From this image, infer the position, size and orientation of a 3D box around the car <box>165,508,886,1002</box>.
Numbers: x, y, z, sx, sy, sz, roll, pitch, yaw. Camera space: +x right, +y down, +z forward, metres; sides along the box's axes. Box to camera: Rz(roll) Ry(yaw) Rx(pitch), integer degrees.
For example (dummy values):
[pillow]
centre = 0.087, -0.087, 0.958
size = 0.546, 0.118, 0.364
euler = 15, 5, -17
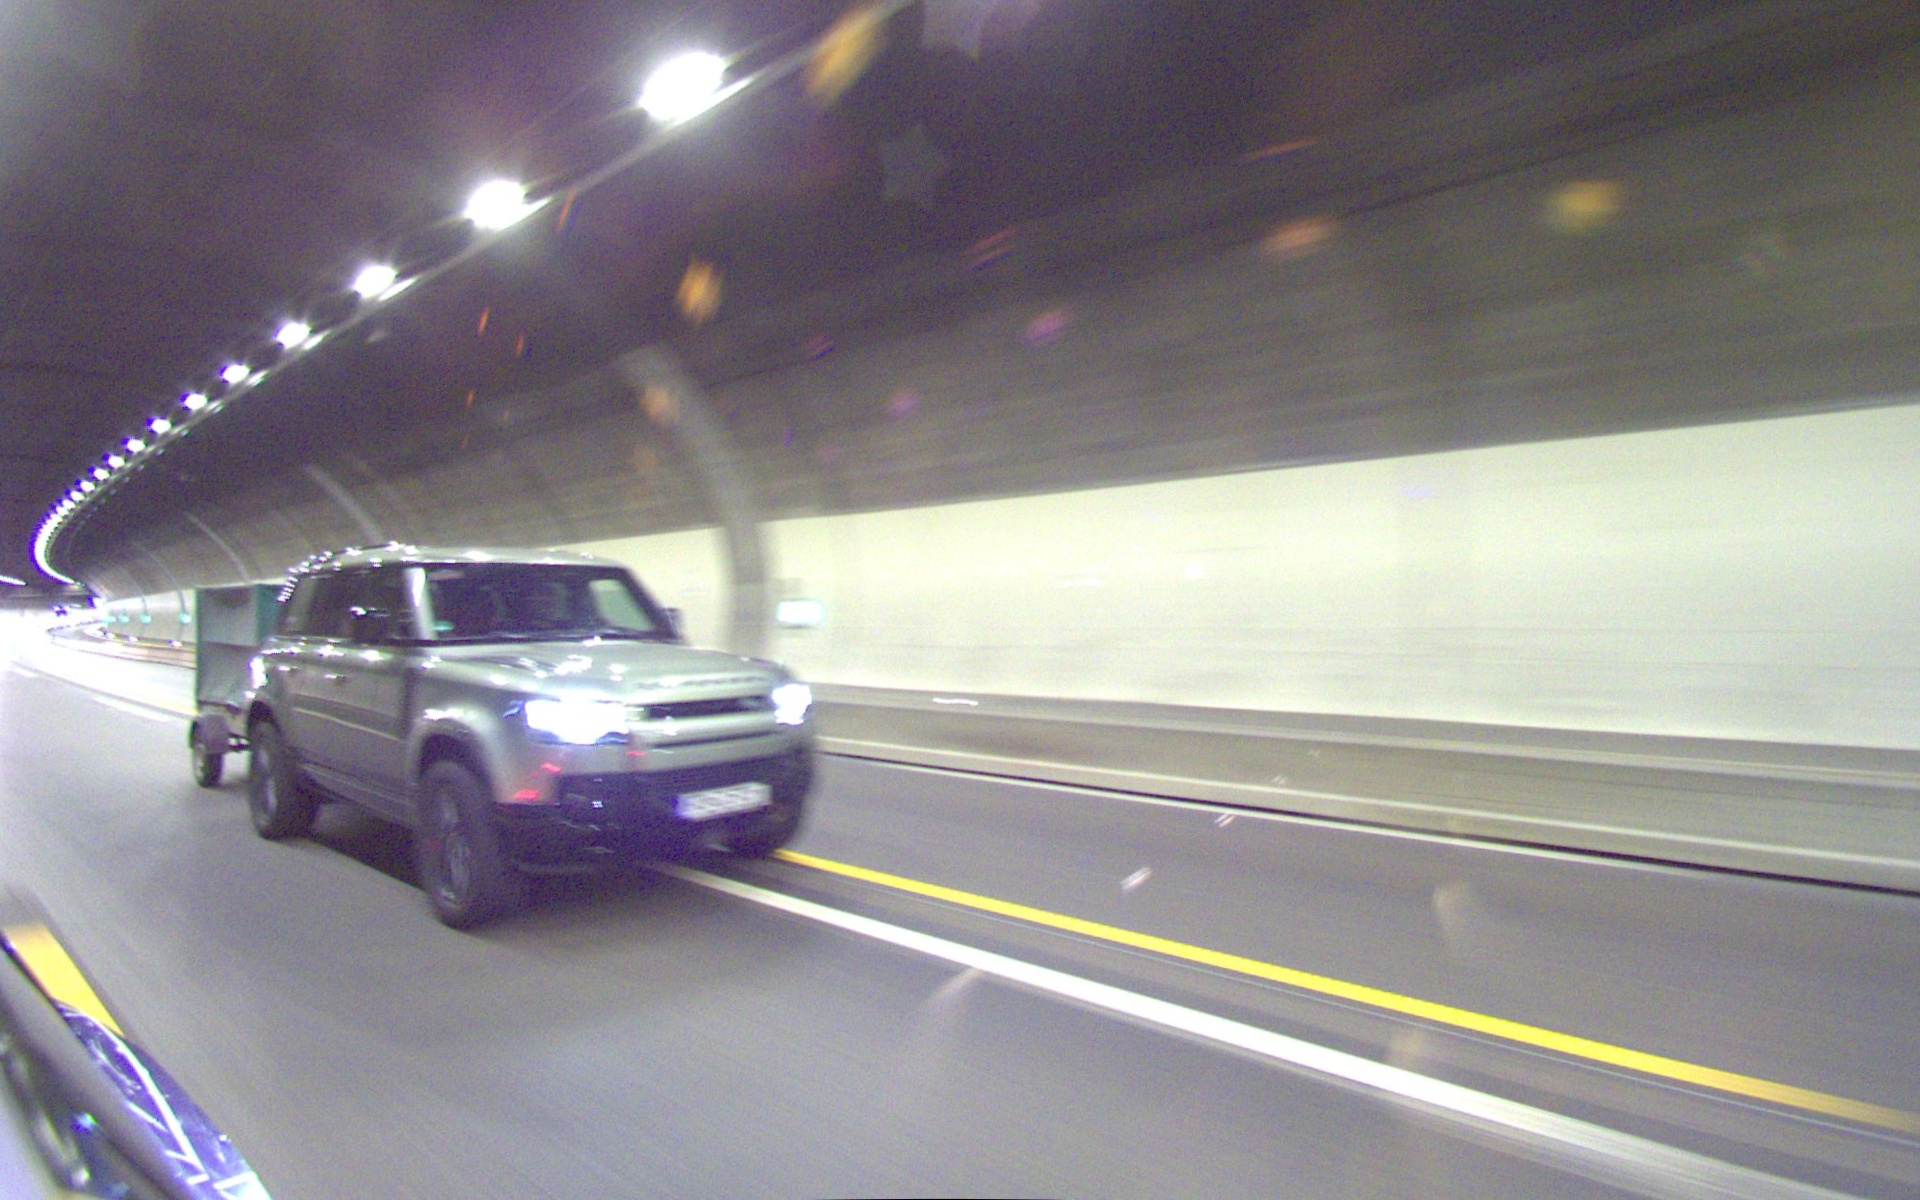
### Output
[car]
centre = -3.114, 0.644, 6.436
size = 5.448, 1.909, 1.973
euler = -1, -1, 40
